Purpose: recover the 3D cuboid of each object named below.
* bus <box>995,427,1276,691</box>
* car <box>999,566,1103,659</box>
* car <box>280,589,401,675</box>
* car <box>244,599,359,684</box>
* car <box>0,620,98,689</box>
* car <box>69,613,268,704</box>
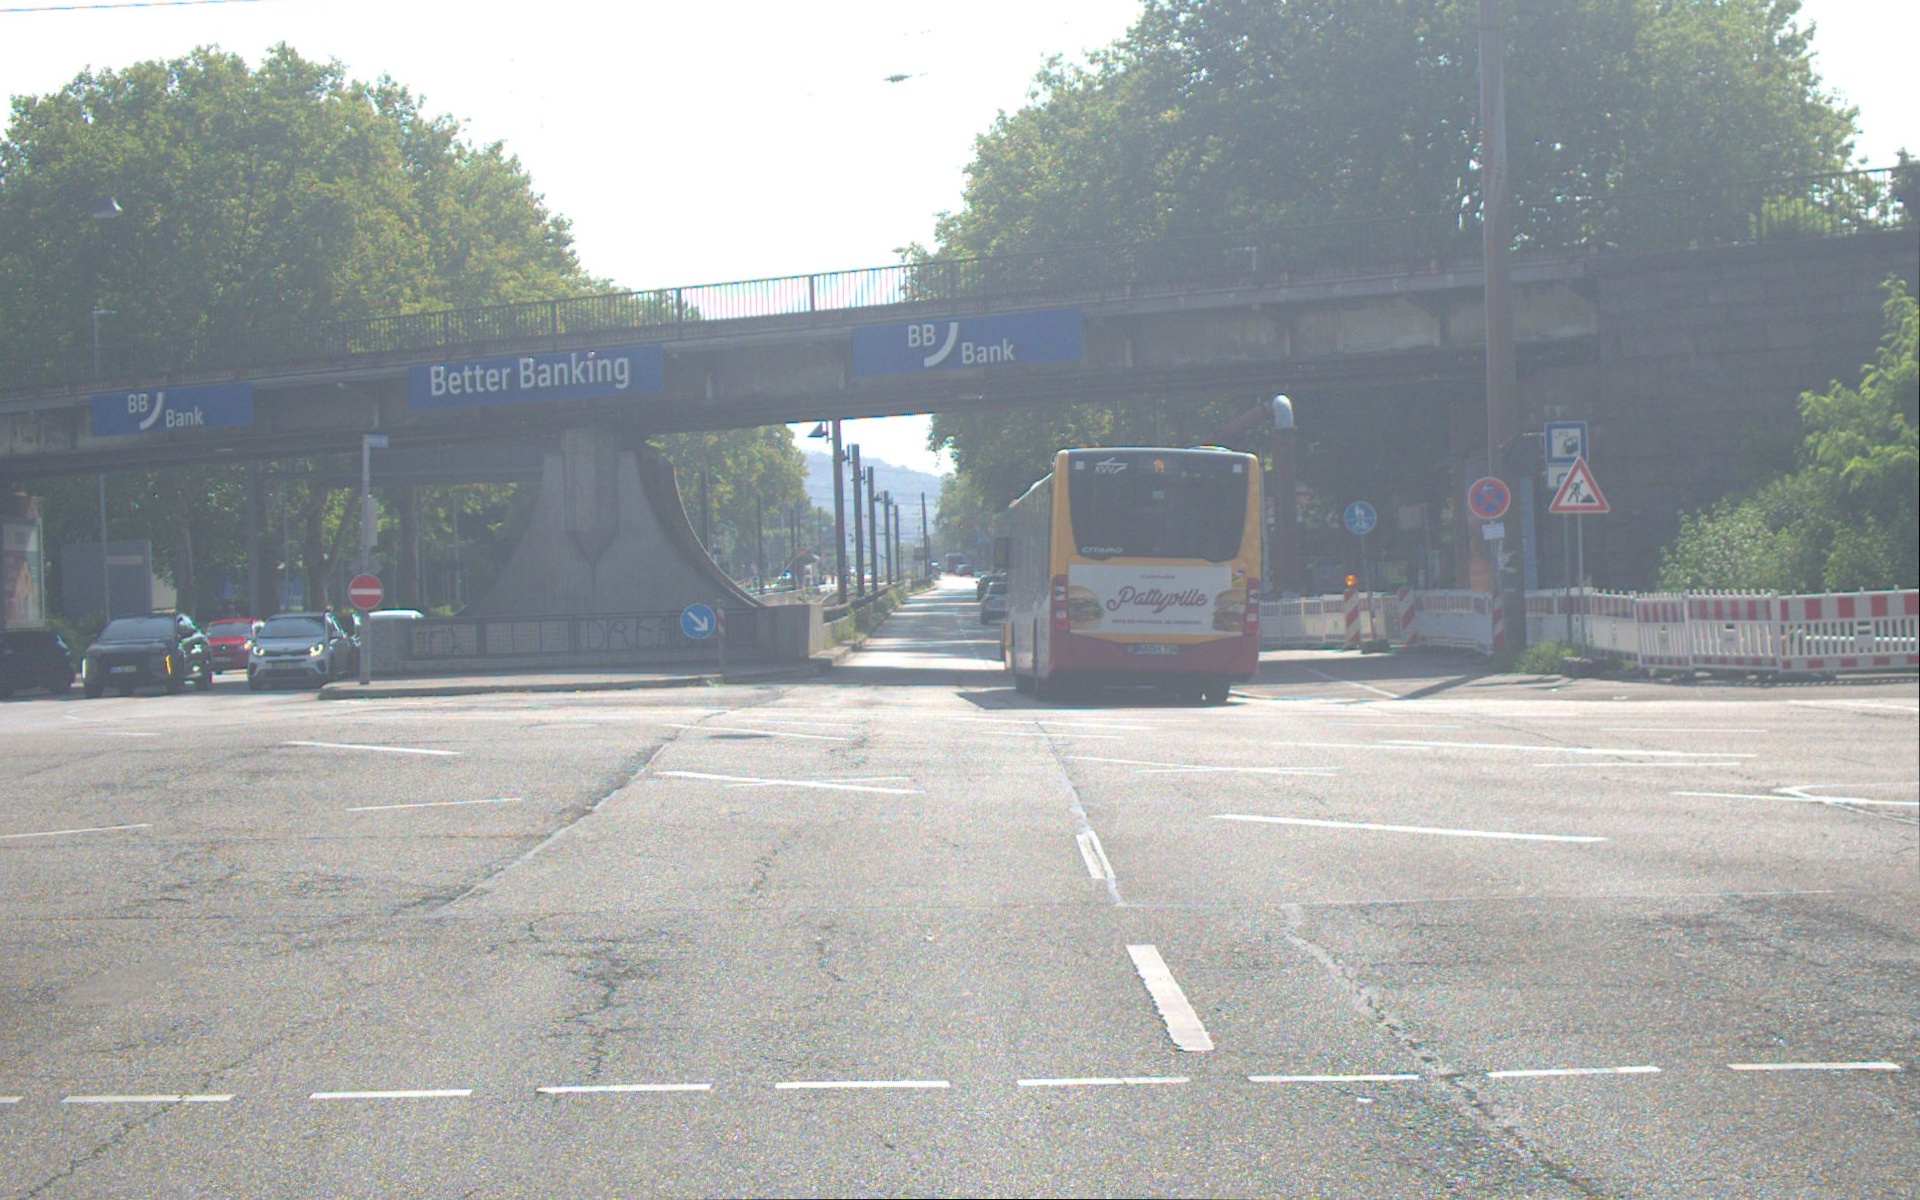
[{"bbox_3d":[2.143,-0.508,46.981,3.134,3.103,12.290,1,0,0],"label":"bus"},{"bbox_3d":[2.002,0.264,77.040,1.993,2.007,4.000,1,0,-3],"label":"car"},{"bbox_3d":[-13.014,0.640,72.447,1.993,1.567,4.348,-1,2,-4],"label":"car"},{"bbox_3d":[-12.914,0.797,67.587,1.721,1.533,3.696,-3,0,-4],"label":"car"},{"bbox_3d":[-20.635,1.149,73.411,1.785,1.423,3.990,1,0,43],"label":"car"},{"bbox_3d":[-15.729,1.142,68.564,1.903,1.611,4.471,-3,0,15],"label":"car"}]
